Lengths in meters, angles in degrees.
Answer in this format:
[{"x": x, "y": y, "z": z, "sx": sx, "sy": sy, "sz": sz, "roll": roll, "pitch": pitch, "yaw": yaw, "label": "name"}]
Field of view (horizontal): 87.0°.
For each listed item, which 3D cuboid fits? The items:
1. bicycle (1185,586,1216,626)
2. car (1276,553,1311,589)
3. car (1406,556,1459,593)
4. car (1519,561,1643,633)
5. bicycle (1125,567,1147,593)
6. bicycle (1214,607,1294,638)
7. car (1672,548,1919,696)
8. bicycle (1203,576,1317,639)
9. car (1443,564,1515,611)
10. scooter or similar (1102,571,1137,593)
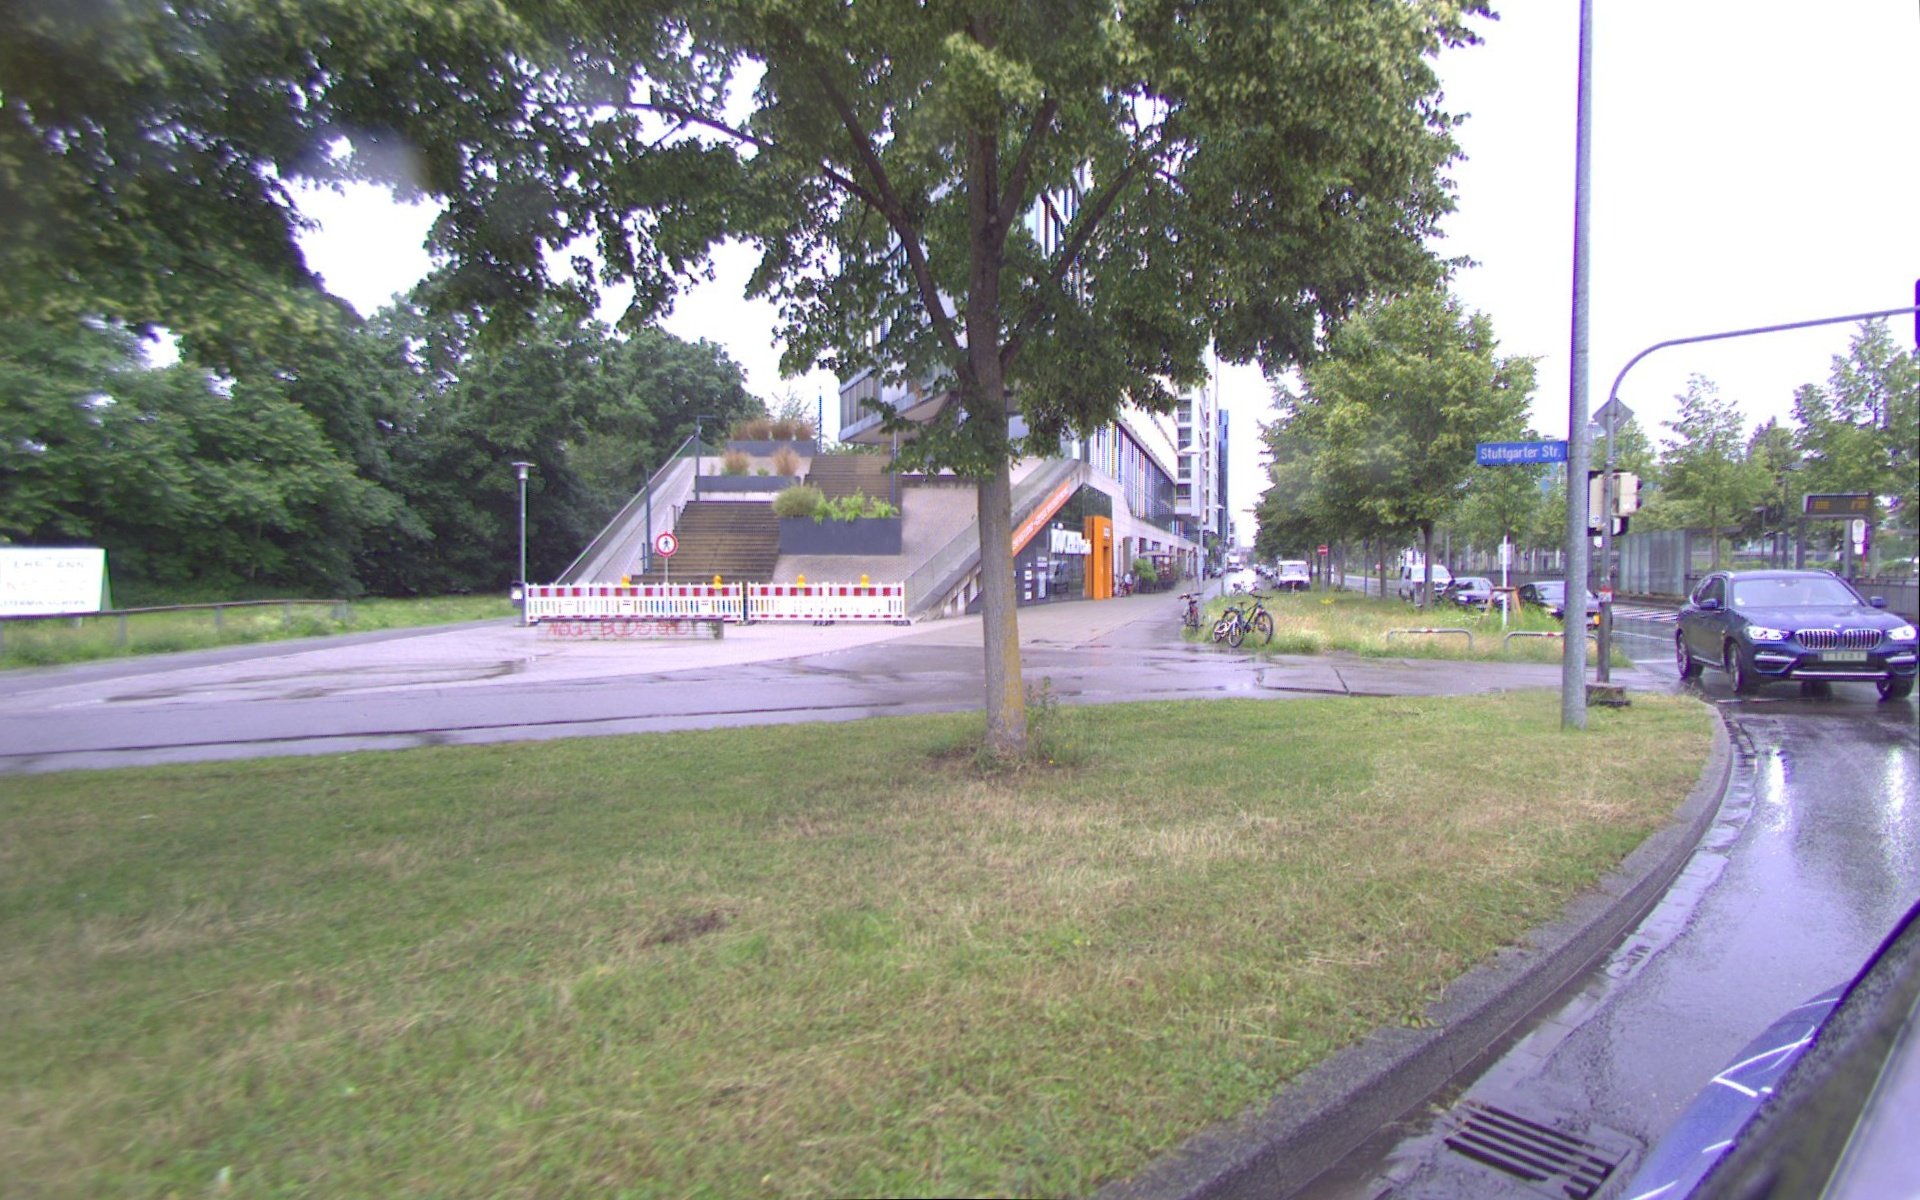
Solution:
[{"x": 5.583, "y": 0.121, "z": 23.437, "sx": 0.627, "sy": 0.857, "sz": 2.154, "roll": 0, "pitch": 1, "yaw": 15, "label": "bicycle"}, {"x": 22.140, "y": -1.963, "z": 67.315, "sx": 2.058, "sy": 2.229, "sz": 5.071, "roll": -2, "pitch": 1, "yaw": 17, "label": "car"}, {"x": 22.947, "y": -1.258, "z": 49.282, "sx": 1.765, "sy": 1.668, "sz": 3.979, "roll": -2, "pitch": 1, "yaw": 17, "label": "car"}, {"x": 16.973, "y": -0.153, "z": 27.897, "sx": 1.892, "sy": 1.768, "sz": 4.358, "roll": -2, "pitch": 1, "yaw": 18, "label": "car"}, {"x": 10.178, "y": -1.171, "z": 58.424, "sx": 0.871, "sy": 1.364, "sz": 2.683, "roll": -2, "pitch": 1, "yaw": 17, "label": "bicycle"}, {"x": 5.886, "y": 0.439, "z": 20.350, "sx": 0.314, "sy": 0.565, "sz": 1.805, "roll": -1, "pitch": 1, "yaw": -30, "label": "bicycle"}, {"x": 11.845, "y": 0.201, "z": 14.439, "sx": 1.897, "sy": 1.768, "sz": 4.348, "roll": -2, "pitch": 1, "yaw": 24, "label": "car"}, {"x": 6.032, "y": 0.127, "z": 20.529, "sx": 0.542, "sy": 1.204, "sz": 2.527, "roll": -1, "pitch": 1, "yaw": -30, "label": "bicycle"}, {"x": 20.016, "y": -0.521, "z": 39.207, "sx": 1.765, "sy": 1.668, "sz": 3.979, "roll": -2, "pitch": 1, "yaw": 17, "label": "car"}, {"x": 8.724, "y": -0.994, "z": 55.196, "sx": 0.807, "sy": 1.112, "sz": 2.582, "roll": -2, "pitch": 2, "yaw": 35, "label": "scooter or similar"}]
